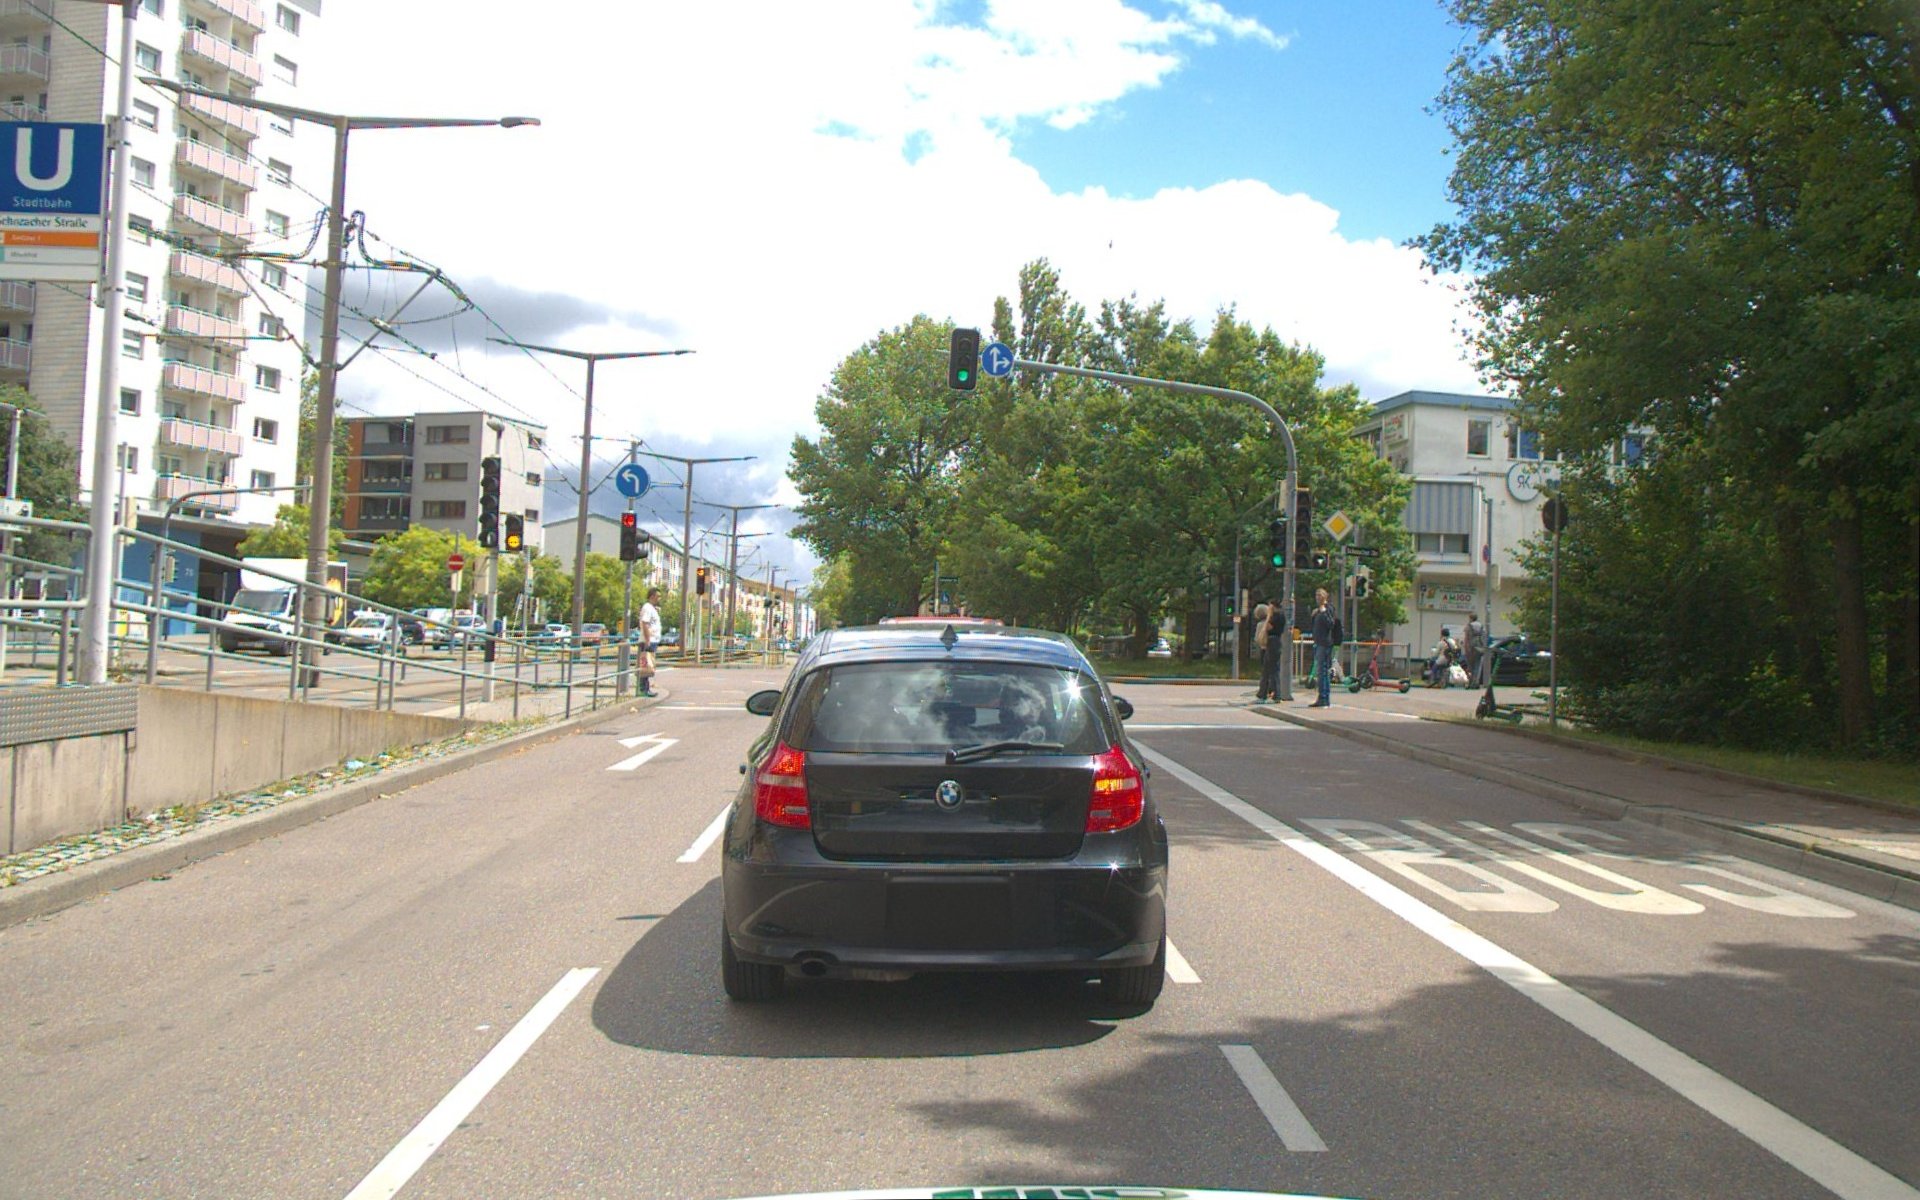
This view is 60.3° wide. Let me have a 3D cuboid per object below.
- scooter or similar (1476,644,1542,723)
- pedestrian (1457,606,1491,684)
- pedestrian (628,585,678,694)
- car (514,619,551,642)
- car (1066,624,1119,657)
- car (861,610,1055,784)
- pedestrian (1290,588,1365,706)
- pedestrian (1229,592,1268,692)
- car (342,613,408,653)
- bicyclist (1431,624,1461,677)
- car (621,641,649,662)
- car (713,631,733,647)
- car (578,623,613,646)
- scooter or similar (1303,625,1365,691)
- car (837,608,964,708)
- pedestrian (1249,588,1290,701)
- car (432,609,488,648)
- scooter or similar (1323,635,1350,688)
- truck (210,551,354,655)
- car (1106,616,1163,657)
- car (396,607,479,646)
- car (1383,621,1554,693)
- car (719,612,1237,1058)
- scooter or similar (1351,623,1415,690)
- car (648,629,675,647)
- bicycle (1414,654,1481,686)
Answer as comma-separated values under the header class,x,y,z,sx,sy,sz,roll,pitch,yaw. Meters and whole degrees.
class,x,y,z,sx,sy,sz,roll,pitch,yaw
scooter or similar,9.423,1.428,28.410,0.872,1.251,0.454,6,-1,-1
pedestrian,11.670,1.018,37.546,0.644,1.743,0.461,1,-1,25
pedestrian,-5.050,0.646,27.243,0.673,1.764,0.687,1,-1,-1
car,-28.731,2.018,111.154,1.559,1.500,3.773,2,-1,-2
car,7.236,2.190,90.437,1.830,1.691,3.988,2,-1,-12
car,-0.040,0.827,15.575,1.605,1.424,3.419,1,0,-1
pedestrian,6.066,0.772,27.328,0.991,1.909,0.796,1,-1,-8
pedestrian,5.267,0.768,30.211,0.622,1.797,0.518,1,-1,5
car,-23.123,1.280,65.514,1.379,1.486,3.772,2,-1,-3
bicyclist,10.928,1.141,37.190,0.494,1.177,0.397,1,-1,-22
car,-25.980,4.129,132.383,1.618,1.561,3.869,1,-1,-2
car,-23.779,3.897,166.087,1.618,1.561,3.869,1,-1,-2
car,-25.091,2.368,114.011,1.618,1.561,3.869,1,-1,-2
scooter or similar,7.373,1.143,32.655,1.087,1.257,0.539,1,-1,1
car,-0.915,0.874,26.833,1.862,1.447,4.538,1,0,-1
pedestrian,5.314,0.760,28.393,0.622,1.909,0.518,1,-1,5
car,-23.633,1.346,78.346,1.559,1.787,3.773,2,-1,-2
scooter or similar,7.897,1.279,34.679,0.536,1.082,1.263,1,-1,13
truck,-22.446,0.131,55.168,2.237,3.172,7.311,2,-1,-5
car,8.359,1.743,79.605,1.694,1.904,3.991,2,-1,-9
car,-27.925,1.438,88.394,3.892,2.009,1.630,2,-1,-43
car,14.988,1.674,48.859,4.450,2.049,1.996,0,0,-8
car,0.040,0.781,7.107,1.665,1.424,3.419,1,0,-1
scooter or similar,8.602,1.146,33.666,1.127,1.294,0.555,2,-1,1
car,-27.400,3.503,151.881,1.617,1.561,3.872,1,-1,1
bicycle,10.935,1.568,37.143,0.525,0.620,1.579,3,-1,-24
